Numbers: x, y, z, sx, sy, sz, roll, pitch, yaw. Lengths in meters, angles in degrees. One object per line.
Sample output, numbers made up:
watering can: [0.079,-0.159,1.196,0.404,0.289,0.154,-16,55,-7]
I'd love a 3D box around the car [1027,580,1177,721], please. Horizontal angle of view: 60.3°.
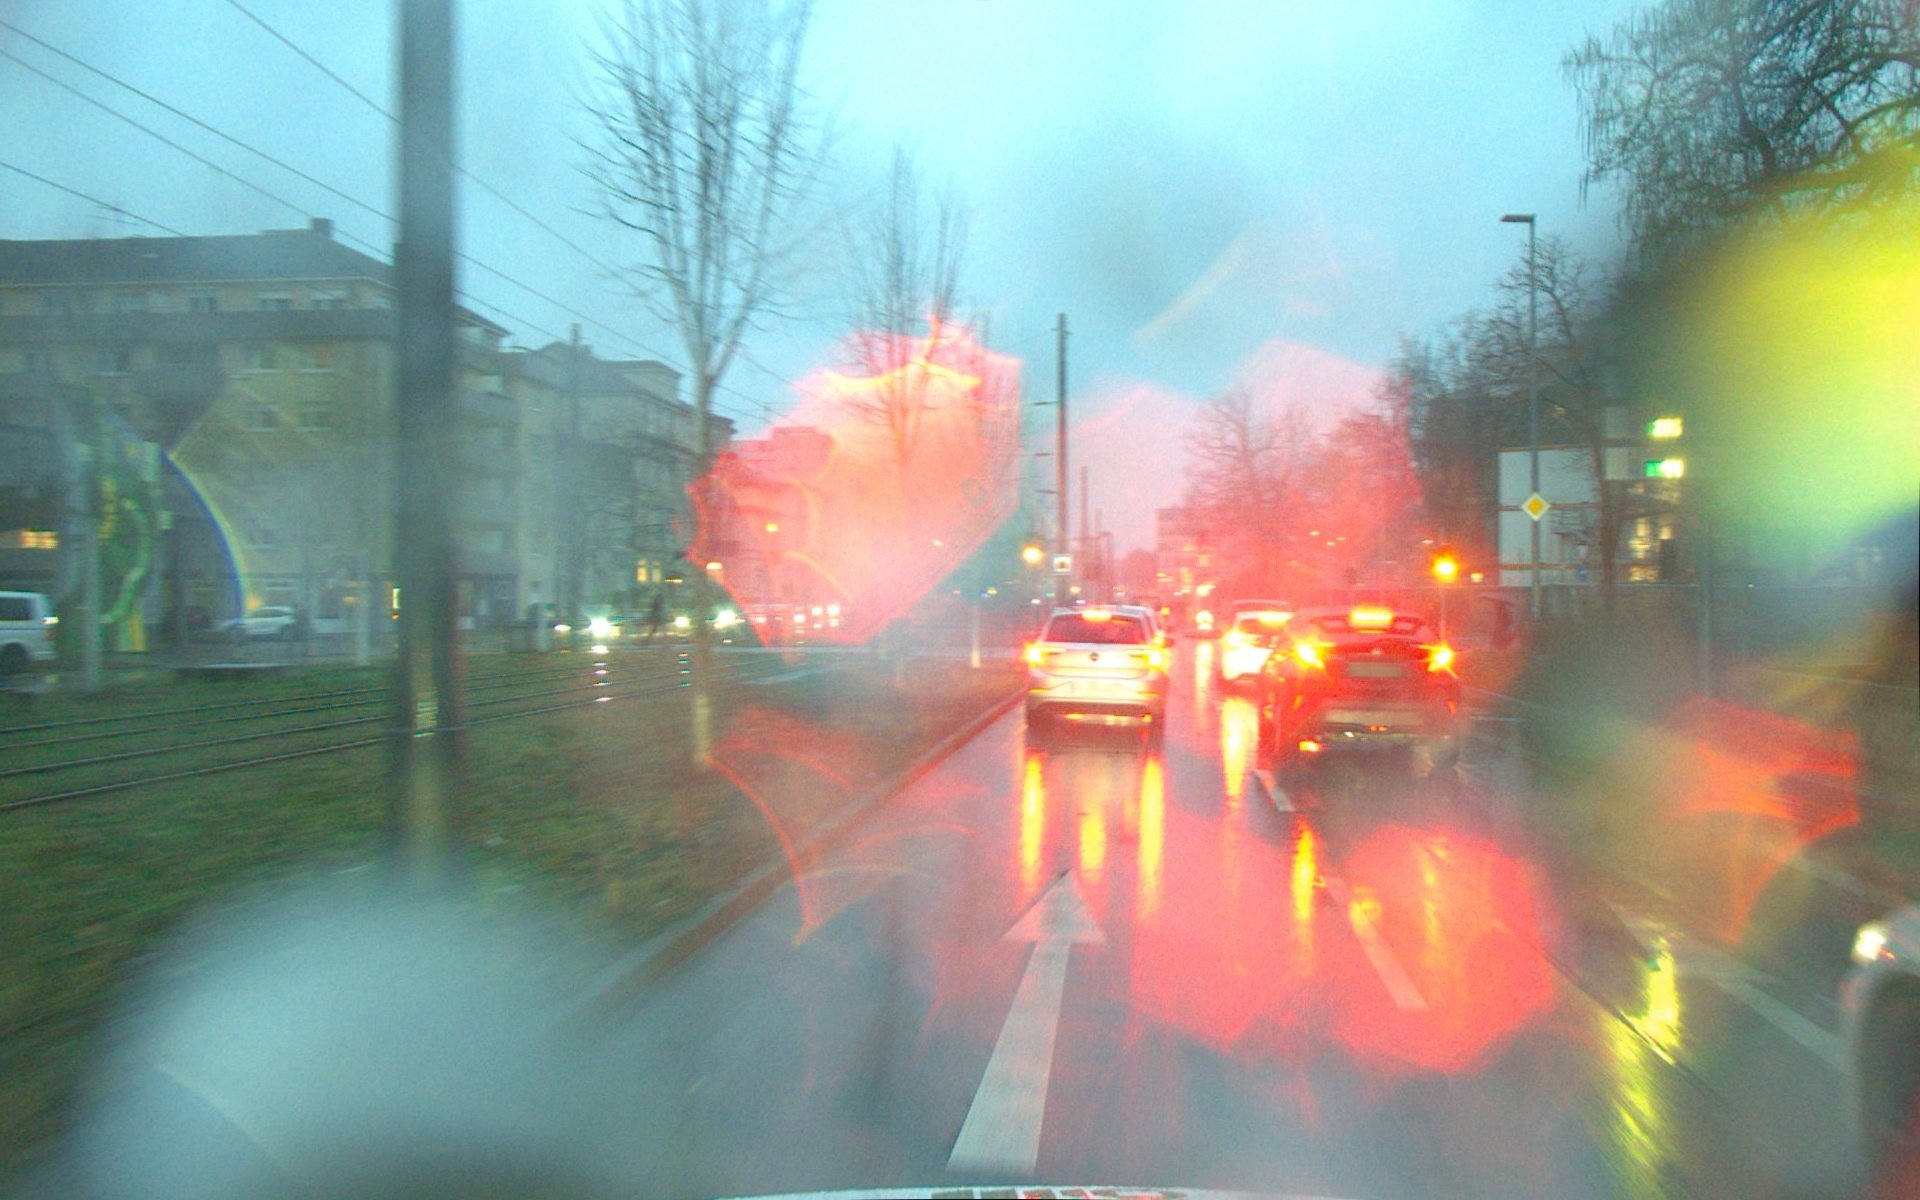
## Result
car: [1.775,0.568,20.747,1.657,1.560,4.002,1,0,5]

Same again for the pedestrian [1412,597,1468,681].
pedestrian: [11.939,0.963,41.158,0.943,2.049,1.003,0,0,-16]

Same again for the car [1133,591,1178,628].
car: [7.865,0.377,66.545,1.701,1.444,4.397,0,0,7]

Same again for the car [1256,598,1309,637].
car: [12.166,0.646,62.606,1.701,1.444,3.706,0,0,7]

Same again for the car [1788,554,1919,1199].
car: [3.018,0.679,2.199,1.823,1.583,4.941,0,0,6]

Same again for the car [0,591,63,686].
car: [-24.698,0.888,40.210,4.784,2.283,1.972,2,-1,-39]

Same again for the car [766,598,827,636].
car: [-7.341,0.766,74.539,1.951,1.630,4.002,2,0,6]

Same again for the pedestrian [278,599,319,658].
pedestrian: [-23.438,0.998,58.643,1.249,2.049,1.003,0,0,-17]

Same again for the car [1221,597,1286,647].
car: [8.722,0.636,49.321,1.701,1.444,3.706,0,0,7]

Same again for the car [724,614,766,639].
car: [-11.580,1.428,89.120,1.656,1.300,4.148,0,0,1]

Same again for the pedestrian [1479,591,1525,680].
pedestrian: [12.669,0.825,38.699,0.938,2.049,1.008,0,0,14]

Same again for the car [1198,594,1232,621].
car: [13.840,0.399,89.964,1.701,1.444,4.149,0,0,7]

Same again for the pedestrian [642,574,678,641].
pedestrian: [-9.297,0.219,51.188,0.989,2.049,0.957,0,0,-18]

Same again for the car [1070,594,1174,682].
car: [3.031,0.649,30.535,1.761,1.492,4.589,0,0,7]

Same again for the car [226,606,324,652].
car: [-31.452,1.328,75.974,3.672,1.976,1.842,2,0,-1]

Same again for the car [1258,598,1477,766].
car: [4.121,0.764,17.269,1.761,1.537,3.898,0,0,7]

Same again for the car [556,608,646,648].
car: [-12.948,0.993,59.904,1.820,1.355,4.318,2,0,7]

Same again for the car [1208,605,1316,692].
car: [5.532,0.861,30.651,1.708,1.458,3.734,2,0,7]
